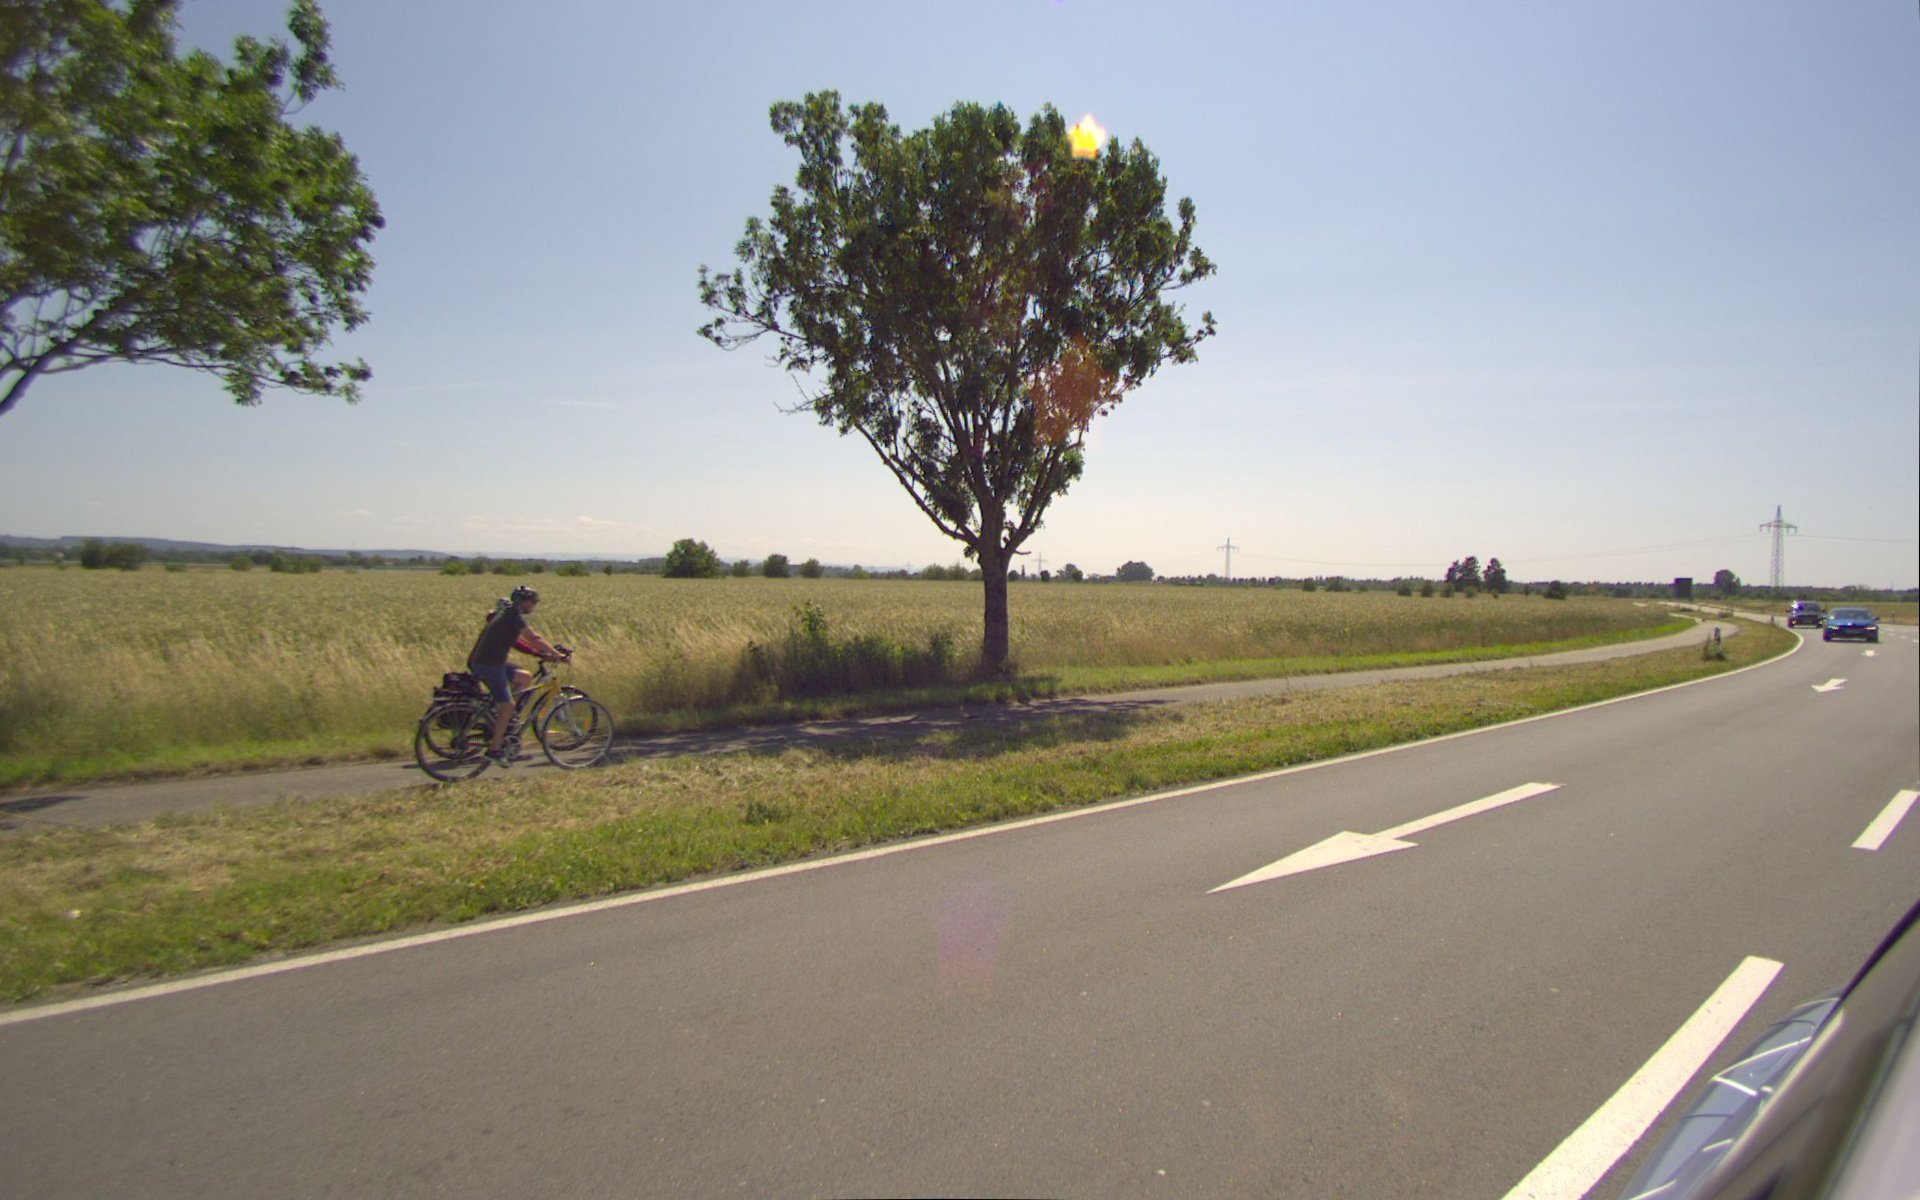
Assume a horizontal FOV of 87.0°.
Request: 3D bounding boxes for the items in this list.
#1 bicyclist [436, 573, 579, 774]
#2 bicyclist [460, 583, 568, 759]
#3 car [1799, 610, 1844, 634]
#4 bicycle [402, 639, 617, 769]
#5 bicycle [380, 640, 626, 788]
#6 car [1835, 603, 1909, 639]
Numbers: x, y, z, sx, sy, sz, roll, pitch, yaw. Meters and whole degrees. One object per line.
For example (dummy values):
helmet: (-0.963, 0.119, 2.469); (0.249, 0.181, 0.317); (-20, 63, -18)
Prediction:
bicyclist: (-4.206, 0.664, 9.420); (1.149, 1.758, 0.589); (1, -4, -32)
bicyclist: (-4.827, 0.749, 10.963); (0.959, 1.807, 0.629); (1, -4, -36)
car: (58.413, 1.459, 68.667); (2.180, 1.485, 4.943); (0, 0, 39)
bicycle: (-4.830, 1.063, 10.918); (2.012, 1.226, 0.700); (0, -2, -36)
bicycle: (-4.198, 0.999, 9.360); (2.011, 1.192, 0.607); (0, -3, -32)
car: (40.283, 0.883, 44.816); (2.181, 1.485, 4.942); (0, 0, 39)
